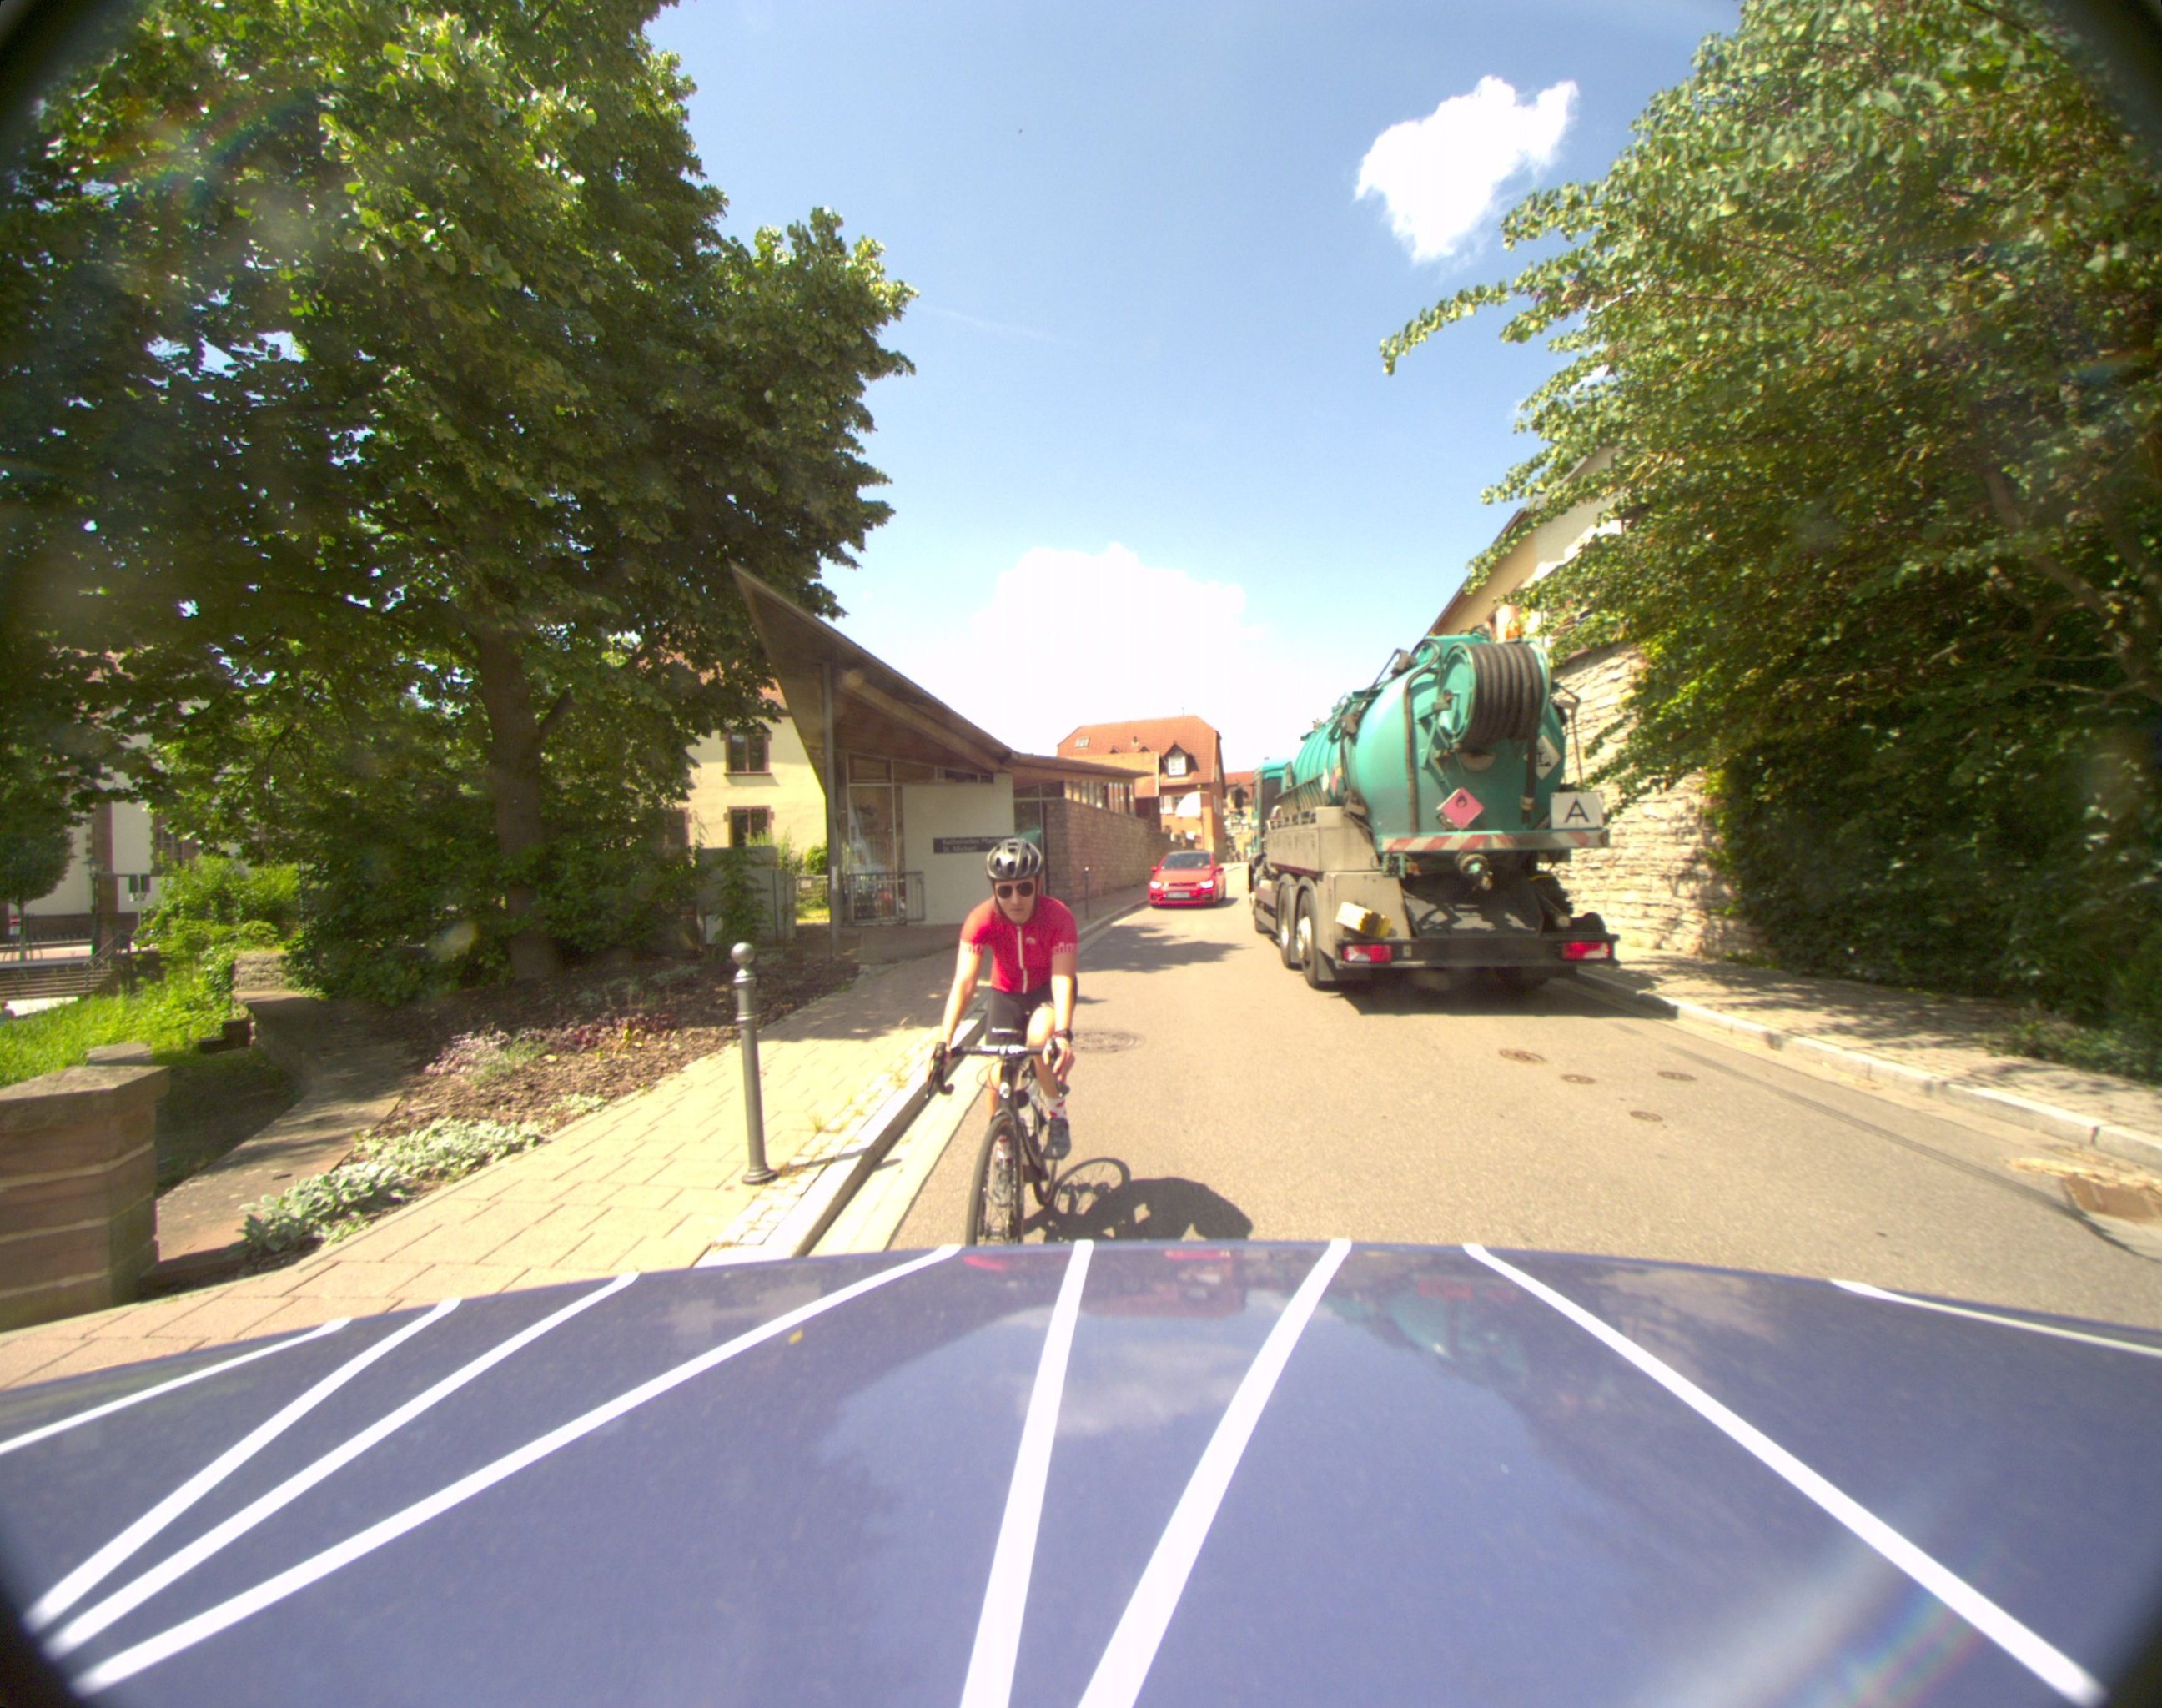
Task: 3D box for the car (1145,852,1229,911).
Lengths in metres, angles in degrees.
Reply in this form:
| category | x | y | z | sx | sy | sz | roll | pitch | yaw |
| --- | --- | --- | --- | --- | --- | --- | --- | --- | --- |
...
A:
| category | x | y | z | sx | sy | sz | roll | pitch | yaw |
| --- | --- | --- | --- | --- | --- | --- | --- | --- | --- |
| car | 2.851 | 0.665 | 19.794 | 1.667 | 1.344 | 3.498 | -2 | 1 | 16 |

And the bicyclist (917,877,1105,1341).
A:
| category | x | y | z | sx | sy | sz | roll | pitch | yaw |
| --- | --- | --- | --- | --- | --- | --- | --- | --- | --- |
| bicyclist | -0.235 | 0.797 | 2.726 | 0.532 | 1.396 | 0.755 | -2 | 0 | -3 |

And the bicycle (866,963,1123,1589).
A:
| category | x | y | z | sx | sy | sz | roll | pitch | yaw |
| --- | --- | --- | --- | --- | --- | --- | --- | --- | --- |
| bicycle | -0.245 | 1.073 | 2.702 | 0.531 | 1.070 | 2.053 | -2 | 0 | -3 |

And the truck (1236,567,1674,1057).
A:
| category | x | y | z | sx | sy | sz | roll | pitch | yaw |
| --- | --- | --- | --- | --- | --- | --- | --- | --- | --- |
| truck | 3.787 | -0.326 | 10.531 | 2.416 | 3.637 | 9.571 | -1 | 1 | 7 |

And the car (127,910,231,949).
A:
| category | x | y | z | sx | sy | sz | roll | pitch | yaw |
| --- | --- | --- | --- | --- | --- | --- | --- | --- | --- |
| car | -42.911 | 3.555 | 36.255 | 1.672 | 1.495 | 3.804 | -3 | 0 | -25 |
